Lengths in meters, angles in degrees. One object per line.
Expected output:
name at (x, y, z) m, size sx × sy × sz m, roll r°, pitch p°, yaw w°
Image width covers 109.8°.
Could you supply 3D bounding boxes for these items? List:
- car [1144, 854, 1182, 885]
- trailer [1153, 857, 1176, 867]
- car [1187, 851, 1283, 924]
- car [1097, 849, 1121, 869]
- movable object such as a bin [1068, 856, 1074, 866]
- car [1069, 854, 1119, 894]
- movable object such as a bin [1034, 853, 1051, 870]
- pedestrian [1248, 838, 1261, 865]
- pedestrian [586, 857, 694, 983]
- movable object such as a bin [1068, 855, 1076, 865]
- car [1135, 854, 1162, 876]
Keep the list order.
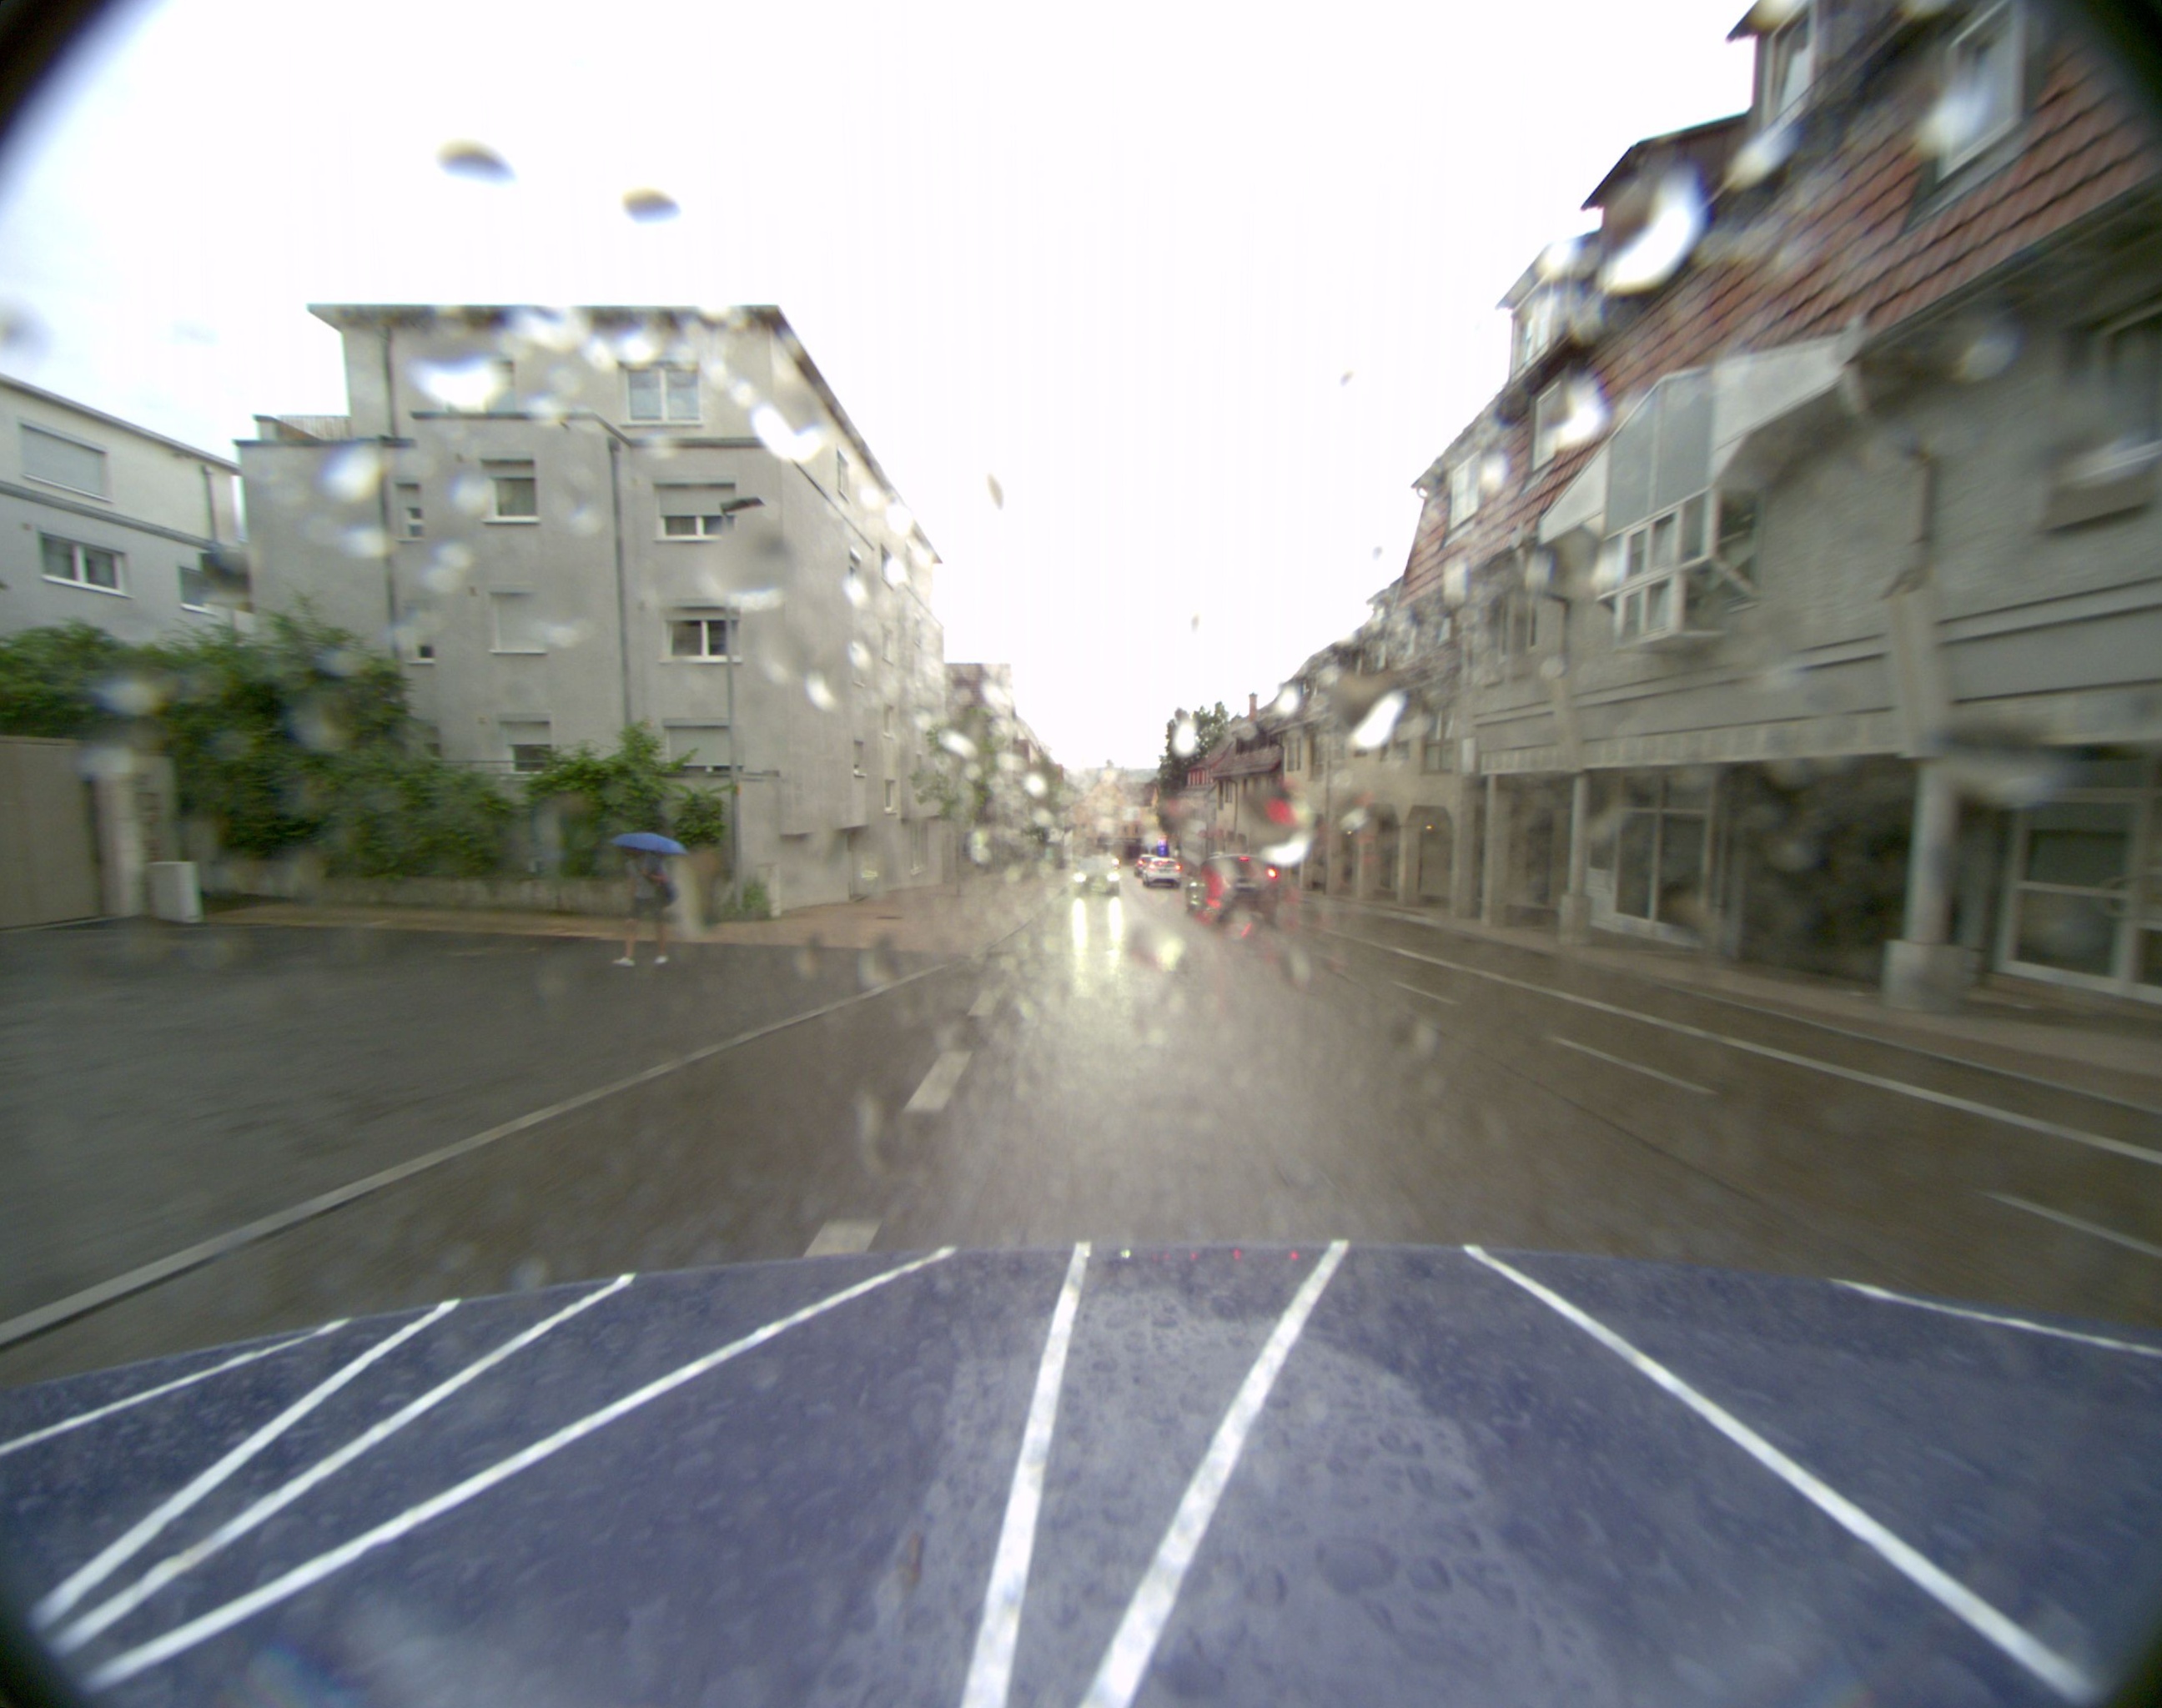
car at (4.133, 0.754, 38.618) m, size 1.681 × 1.501 × 3.589 m, roll 0°, pitch 1°, yaw 2°
trailer at (8.181, 0.769, 74.413) m, size 1.998 × 0.900 × 4.478 m, roll -2°, pitch 0°, yaw 4°
car at (3.942, 0.784, 20.097) m, size 1.786 × 1.684 × 4.460 m, roll 0°, pitch 1°, yaw 2°
car at (2.376, 0.452, 63.699) m, size 1.967 × 1.598 × 4.384 m, roll 0°, pitch -1°, yaw 3°
movable object such as a bin at (-1.020, 0.679, 79.320) m, size 0.596 × 1.022 × 0.476 m, roll 2°, pitch 1°, yaw 3°
car at (0.610, 0.784, 32.614) m, size 1.967 × 1.549 × 4.623 m, roll 0°, pitch 1°, yaw 2°
movable object such as a bin at (-3.084, 0.617, 61.246) m, size 1.237 × 1.327 × 1.173 m, roll 1°, pitch 0°, yaw 3°
pedestrian at (11.386, -0.188, 49.871) m, size 0.689 × 1.730 × 0.735 m, roll -2°, pitch 1°, yaw 4°
pedestrian at (-5.808, 0.835, 10.067) m, size 0.737 × 1.533 × 1.038 m, roll 3°, pitch 1°, yaw 4°
movable object such as a bin at (-0.912, 0.604, 78.418) m, size 0.571 × 1.022 × 0.467 m, roll 1°, pitch 1°, yaw -39°
car at (4.937, 0.774, 55.718) m, size 1.681 × 1.501 × 3.588 m, roll 0°, pitch 1°, yaw 0°
